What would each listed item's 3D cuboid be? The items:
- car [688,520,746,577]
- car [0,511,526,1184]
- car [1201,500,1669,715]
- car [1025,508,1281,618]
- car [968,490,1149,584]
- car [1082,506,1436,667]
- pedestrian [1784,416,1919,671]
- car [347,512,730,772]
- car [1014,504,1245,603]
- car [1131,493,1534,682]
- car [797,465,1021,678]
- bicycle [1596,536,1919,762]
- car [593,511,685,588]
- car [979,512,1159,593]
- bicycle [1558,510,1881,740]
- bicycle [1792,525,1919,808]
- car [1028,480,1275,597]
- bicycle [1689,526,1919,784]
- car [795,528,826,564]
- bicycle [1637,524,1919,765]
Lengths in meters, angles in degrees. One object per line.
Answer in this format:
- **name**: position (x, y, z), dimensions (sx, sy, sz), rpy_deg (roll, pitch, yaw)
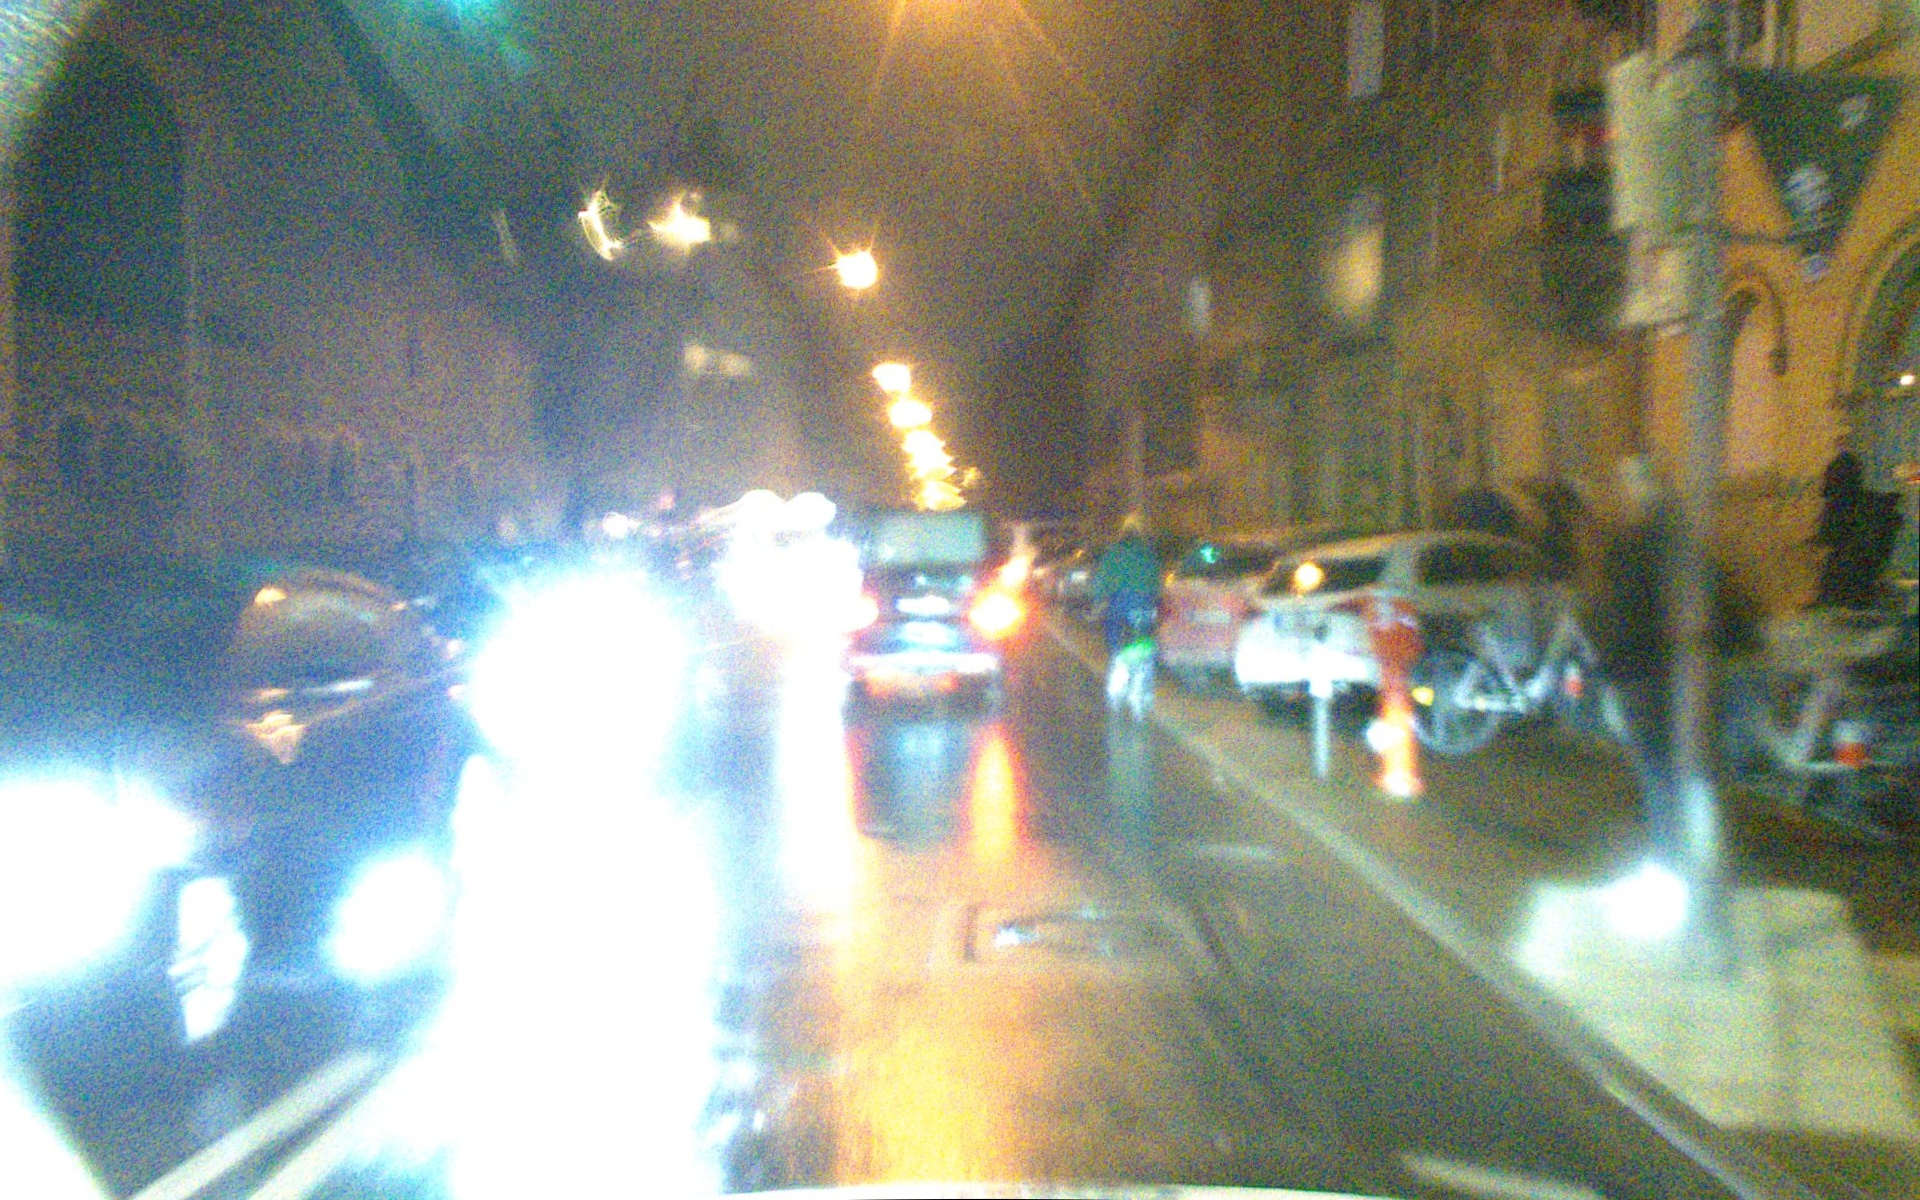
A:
- **car**: position (-8.893, -1.891, 60.354), dimensions (1.696, 2.006, 3.713), rpy_deg (-1, 2, -15)
- **car**: position (-2.791, 0.462, 5.562), dimensions (1.635, 1.445, 4.097), rpy_deg (-1, 2, -1)
- **car**: position (4.179, -0.036, 14.249), dimensions (4.145, 1.482, 1.832), rpy_deg (-5, 4, -39)
- **car**: position (3.395, -0.687, 29.050), dimensions (4.114, 1.673, 1.759), rpy_deg (-3, 3, -22)
- **car**: position (2.841, -1.819, 46.902), dimensions (4.962, 2.432, 2.110), rpy_deg (-5, 4, -39)
- **car**: position (3.620, -0.229, 19.725), dimensions (4.137, 1.617, 1.710), rpy_deg (-4, 4, -34)
- **pedestrian**: position (7.203, -0.452, 13.025), dimensions (0.938, 1.914, 1.000), rpy_deg (-1, 2, 0)
- **car**: position (-2.936, 0.164, 12.639), dimensions (1.751, 1.581, 4.854), rpy_deg (-1, 2, -1)
- **car**: position (3.296, -0.936, 32.208), dimensions (4.114, 1.673, 1.759), rpy_deg (-3, 3, -22)
- **car**: position (3.895, -0.212, 16.957), dimensions (4.145, 1.603, 1.856), rpy_deg (-5, 4, -39)
- **car**: position (-0.508, -0.361, 18.090), dimensions (2.124, 2.006, 4.302), rpy_deg (-1, 2, -1)
- **bicycle**: position (5.015, 0.281, 10.309), dimensions (1.860, 1.273, 0.595), rpy_deg (-3, 2, -5)
- **car**: position (-8.851, -1.414, 45.356), dimensions (1.960, 2.006, 4.281), rpy_deg (-1, 2, -18)
- **car**: position (2.597, -1.146, 38.984), dimensions (4.146, 1.673, 1.745), rpy_deg (-5, 4, -39)
- **bicycle**: position (5.002, 0.149, 10.932), dimensions (1.860, 1.383, 0.595), rpy_deg (-3, 2, -5)
- **bicycle**: position (5.124, 0.256, 7.989), dimensions (1.860, 1.273, 0.710), rpy_deg (-3, 2, -5)
- **car**: position (3.158, -1.026, 26.714), dimensions (4.152, 1.673, 1.636), rpy_deg (-5, 4, -42)
- **bicycle**: position (4.983, 0.256, 8.894), dimensions (1.860, 1.273, 0.595), rpy_deg (-3, 2, -5)
- **car**: position (-8.680, -3.162, 96.183), dimensions (1.690, 2.006, 4.218), rpy_deg (-1, 2, -4)
- **bicycle**: position (5.002, 0.230, 9.637), dimensions (1.860, 1.273, 0.595), rpy_deg (-3, 2, -5)
